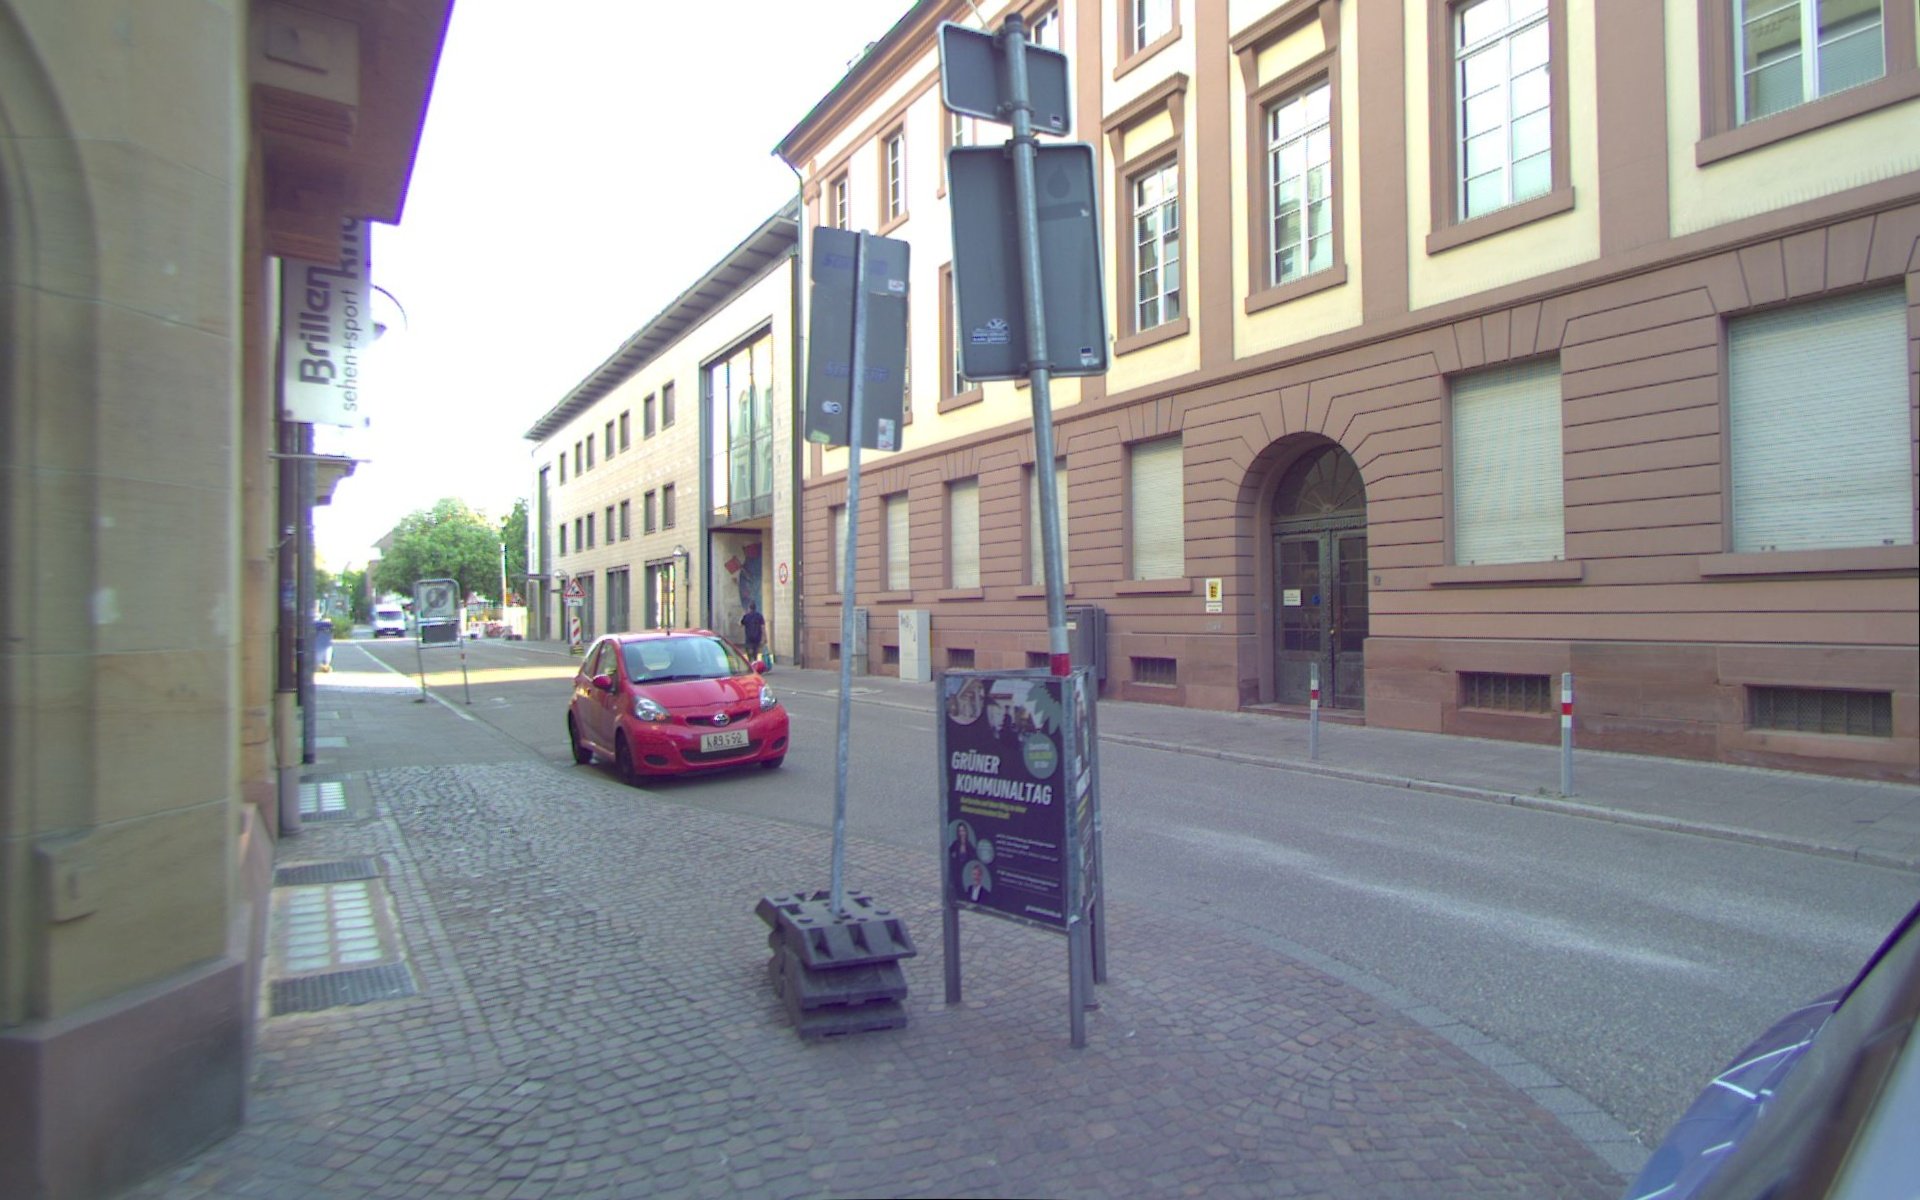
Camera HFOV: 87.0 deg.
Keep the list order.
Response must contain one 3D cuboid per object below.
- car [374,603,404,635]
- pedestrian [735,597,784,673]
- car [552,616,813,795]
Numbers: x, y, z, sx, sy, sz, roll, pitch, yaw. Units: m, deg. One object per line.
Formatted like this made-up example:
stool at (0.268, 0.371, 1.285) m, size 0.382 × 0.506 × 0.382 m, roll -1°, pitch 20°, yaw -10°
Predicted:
car at (-42.598, 1.382, 75.590) m, size 1.901 × 2.334 × 4.004 m, roll 0°, pitch -1°, yaw -29°
pedestrian at (-4.949, 0.843, 24.919) m, size 0.911 × 1.801 × 0.941 m, roll 0°, pitch -1°, yaw -31°
car at (-3.163, 0.948, 10.934) m, size 1.618 × 1.460 × 4.002 m, roll -3°, pitch 1°, yaw -31°
